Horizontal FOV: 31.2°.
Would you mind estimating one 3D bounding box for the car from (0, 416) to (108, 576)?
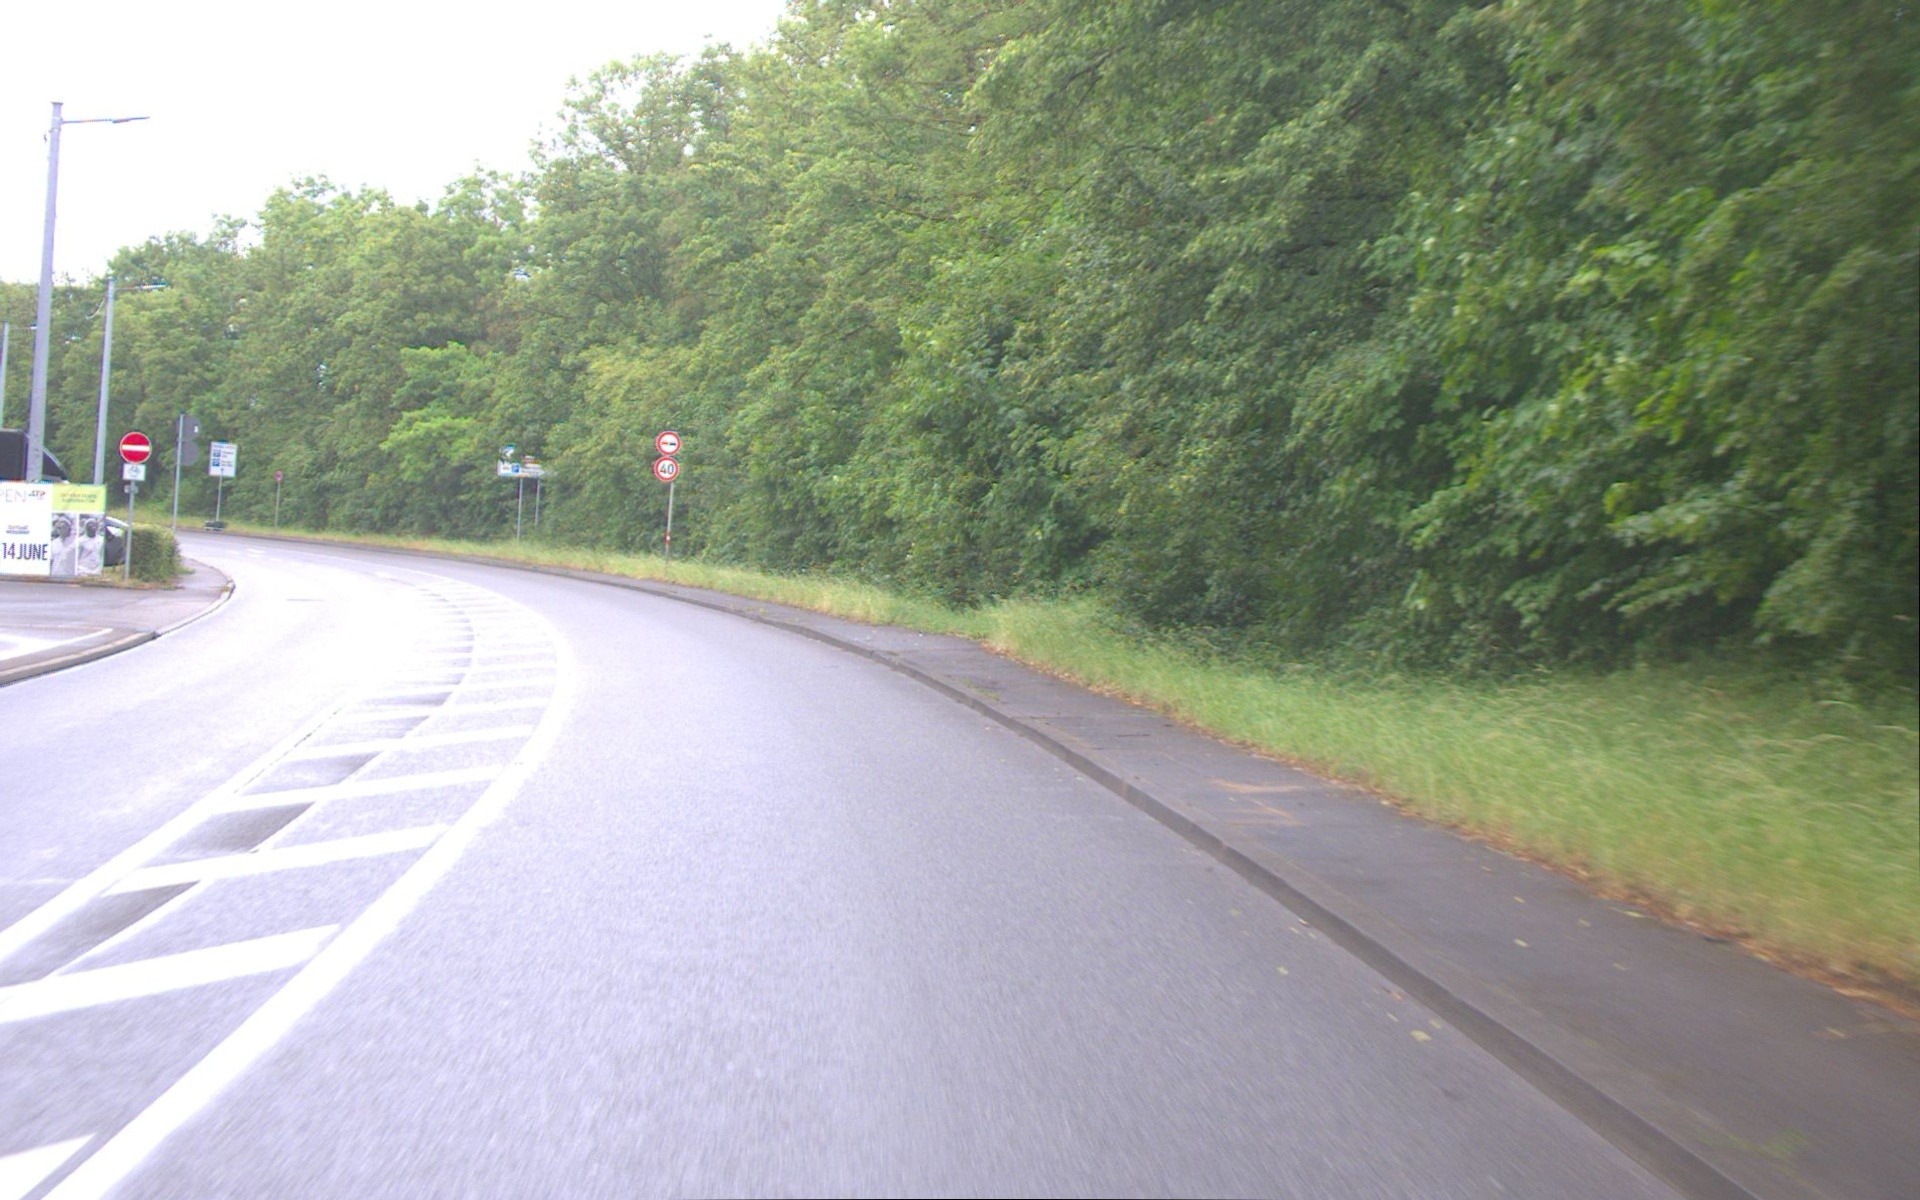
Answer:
[{"bbox_3d":[-21.996,-2.327,76.073,5.945,3.490,2.001,1,1,-17],"label":"car"}]
